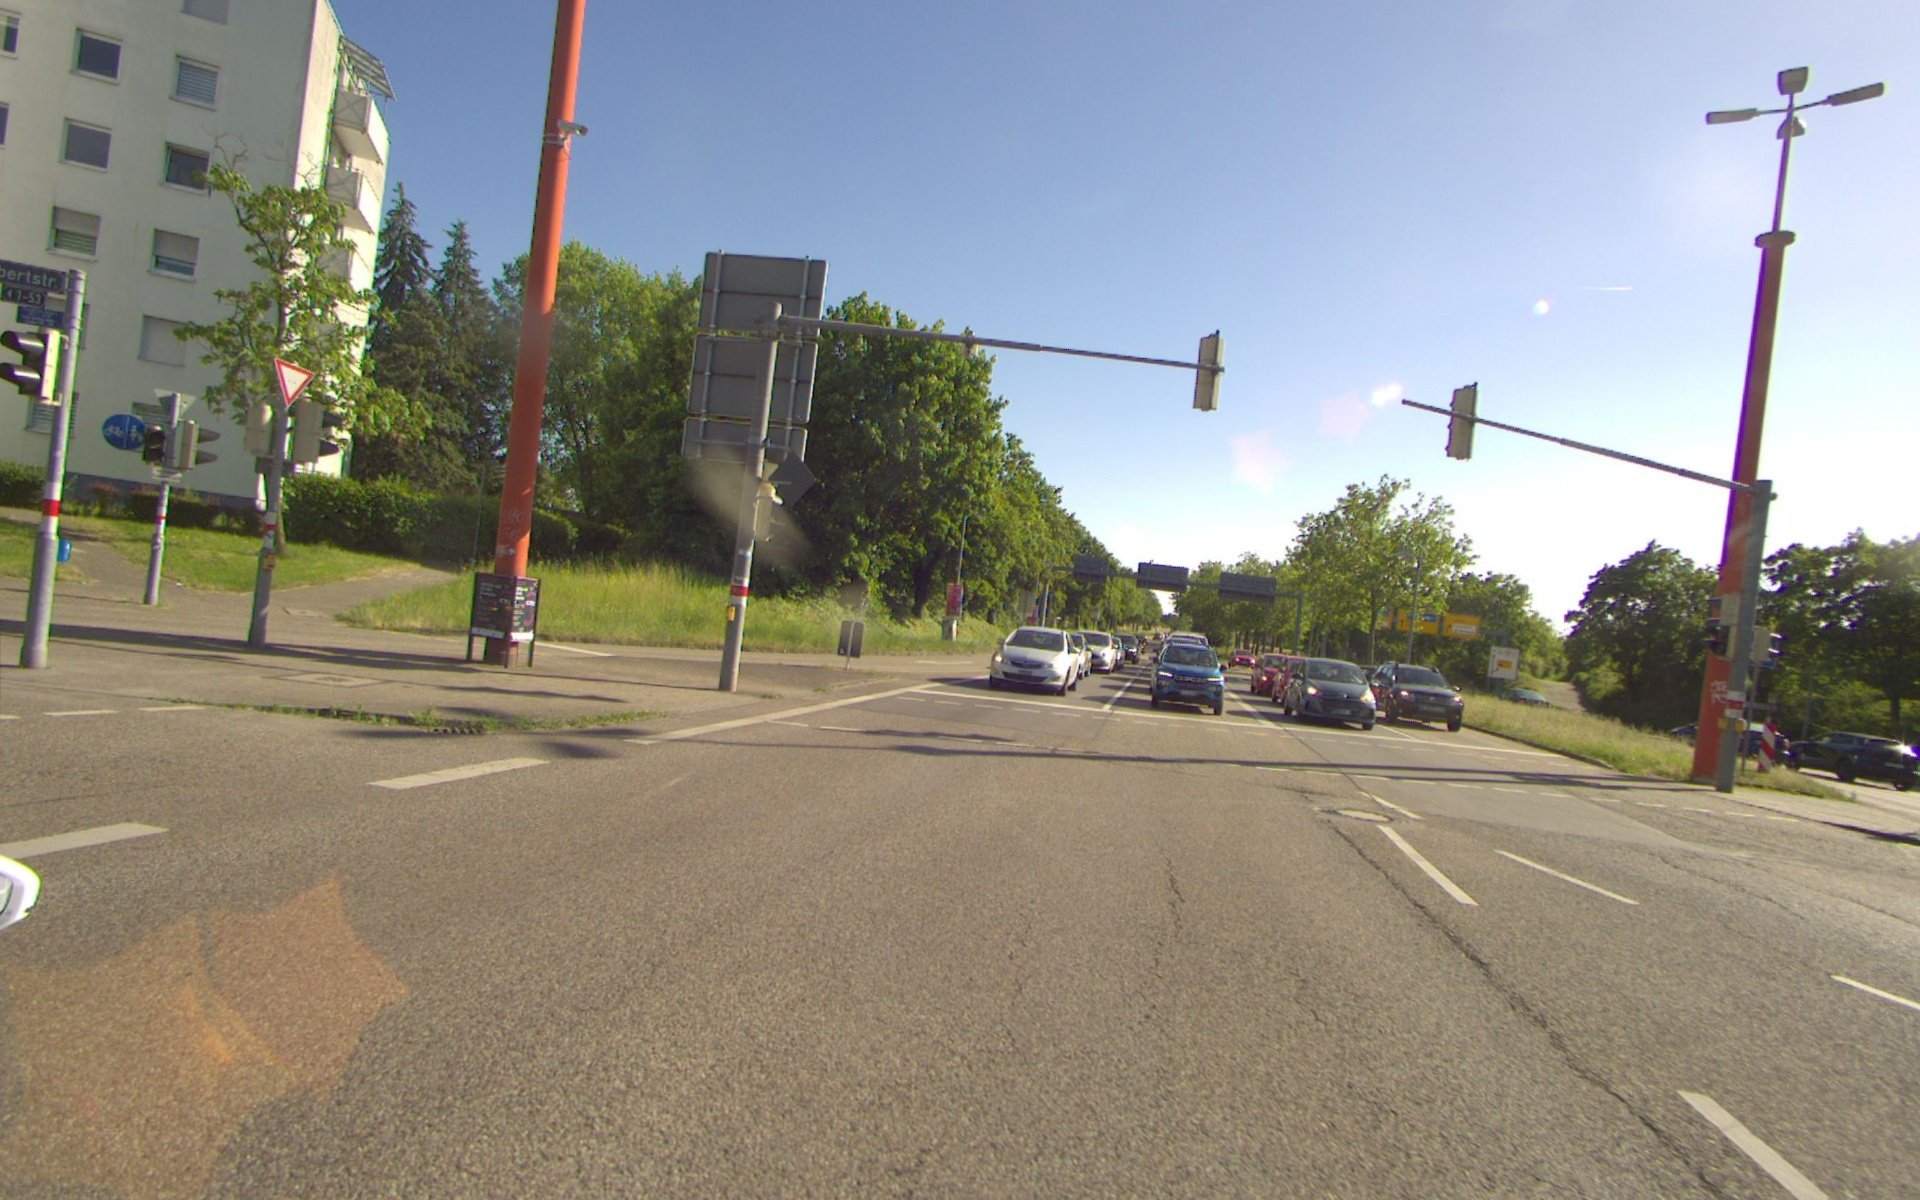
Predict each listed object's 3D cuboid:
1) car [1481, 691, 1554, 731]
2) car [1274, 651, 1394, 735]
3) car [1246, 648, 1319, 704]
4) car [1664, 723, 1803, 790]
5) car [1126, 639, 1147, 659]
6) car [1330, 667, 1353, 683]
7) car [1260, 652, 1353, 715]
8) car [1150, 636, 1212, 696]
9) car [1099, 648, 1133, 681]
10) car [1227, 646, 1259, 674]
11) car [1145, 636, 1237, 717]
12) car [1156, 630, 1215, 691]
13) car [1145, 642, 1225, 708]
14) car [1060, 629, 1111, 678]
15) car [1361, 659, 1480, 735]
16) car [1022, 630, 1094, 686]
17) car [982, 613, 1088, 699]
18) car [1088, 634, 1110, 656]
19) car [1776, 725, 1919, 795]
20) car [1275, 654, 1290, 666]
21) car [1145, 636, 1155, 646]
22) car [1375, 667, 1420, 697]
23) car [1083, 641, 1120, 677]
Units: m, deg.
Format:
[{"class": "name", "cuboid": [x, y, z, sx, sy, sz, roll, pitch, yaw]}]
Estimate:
[{"class": "car", "cuboid": [27.974, 5.545, 50.621, 1.686, 1.471, 4.201, 7, -1, 9]}, {"class": "car", "cuboid": [8.802, 2.132, 24.023, 1.844, 1.569, 4.030, 6, -1, 10]}, {"class": "car", "cuboid": [11.481, 2.685, 36.072, 1.871, 1.649, 4.004, 8, -1, 12]}, {"class": "car", "cuboid": [24.563, 4.921, 32.139, 1.691, 1.436, 4.053, 8, -1, 10]}, {"class": "car", "cuboid": [16.627, 4.624, 94.902, 1.749, 1.671, 3.980, 5, -3, 9]}, {"class": "car", "cuboid": [45.715, 9.004, 120.683, 1.689, 1.626, 3.851, 9, -1, 11]}, {"class": "car", "cuboid": [10.304, 2.433, 30.189, 1.845, 1.571, 4.004, 4, -2, 9]}, {"class": "car", "cuboid": [7.864, 2.301, 35.891, 1.844, 1.805, 4.003, 7, -1, 12]}, {"class": "car", "cuboid": [9.087, 3.744, 58.679, 1.749, 1.671, 3.980, 5, -3, 9]}, {"class": "car", "cuboid": [22.827, 4.803, 81.253, 1.885, 1.868, 3.963, 7, -1, 9]}, {"class": "car", "cuboid": [5.310, 1.727, 23.509, 1.772, 1.534, 3.862, 6, -1, 11]}, {"class": "car", "cuboid": [9.501, 2.517, 42.768, 1.930, 2.181, 5.086, 7, -1, 10]}, {"class": "car", "cuboid": [6.521, 2.141, 29.536, 1.871, 1.573, 4.004, 6, -1, 9]}, {"class": "car", "cuboid": [4.961, 2.117, 39.530, 1.749, 1.671, 3.980, 5, -3, 9]}, {"class": "car", "cuboid": [12.451, 2.572, 27.479, 1.765, 1.646, 4.147, 6, -1, 9]}, {"class": "car", "cuboid": [3.297, 1.879, 33.208, 1.855, 1.531, 4.004, 6, -1, 11]}, {"class": "car", "cuboid": [1.887, 1.317, 23.876, 1.847, 1.671, 4.223, 6, -2, 11]}, {"class": "car", "cuboid": [12.584, 4.083, 90.858, 1.749, 1.671, 3.980, 5, -3, 9]}, {"class": "car", "cuboid": [28.483, 5.059, 32.185, 1.740, 1.525, 4.230, 9, -1, 11]}, {"class": "car", "cuboid": [58.300, 10.810, 181.790, 1.901, 1.868, 3.964, 7, -1, 11]}, {"class": "car", "cuboid": [41.256, 8.970, 217.957, 1.885, 1.903, 3.964, 7, -1, 11]}, {"class": "car", "cuboid": [32.816, 6.151, 75.542, 1.776, 1.842, 4.591, 8, -1, 9]}, {"class": "car", "cuboid": [6.497, 2.672, 46.047, 1.503, 1.370, 3.504, 5, -1, 9]}]
